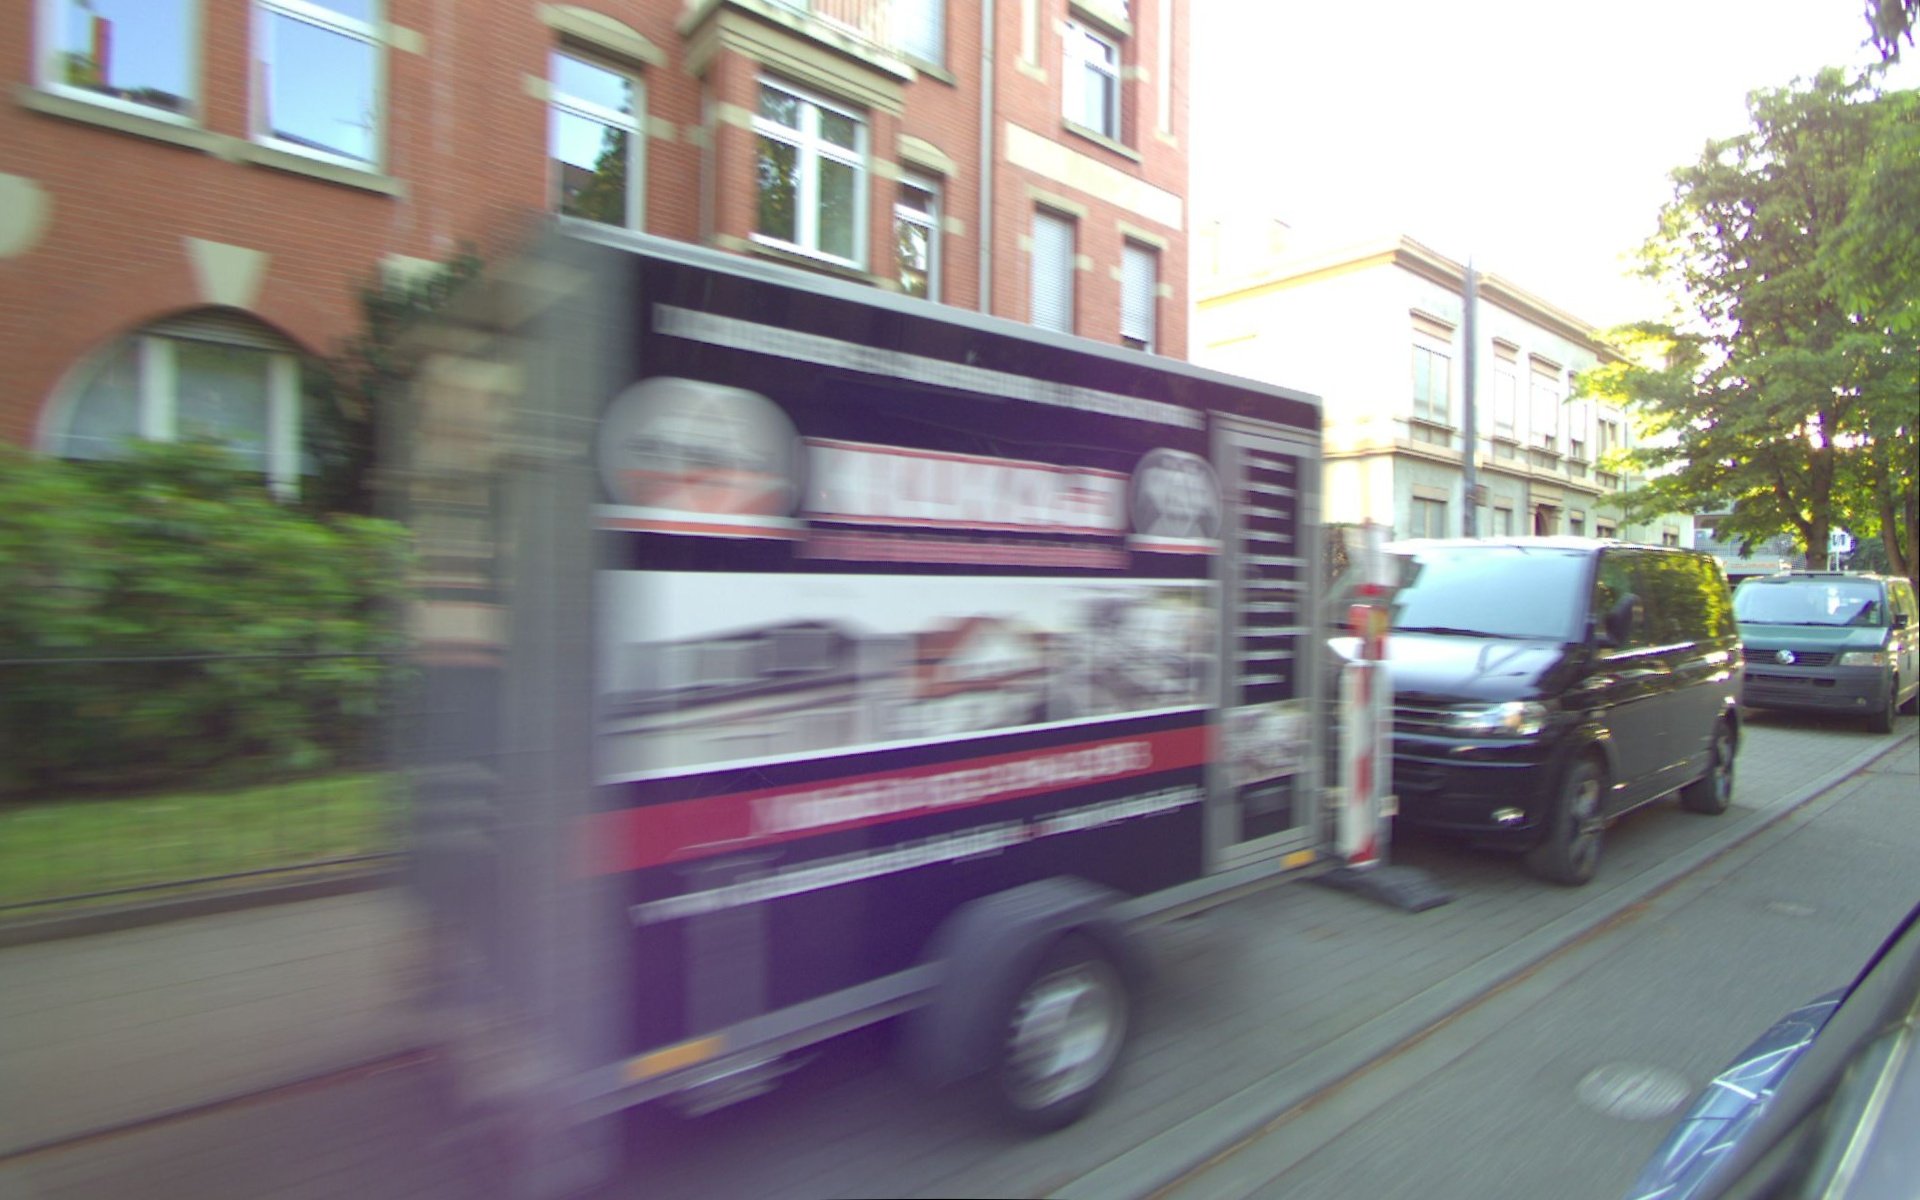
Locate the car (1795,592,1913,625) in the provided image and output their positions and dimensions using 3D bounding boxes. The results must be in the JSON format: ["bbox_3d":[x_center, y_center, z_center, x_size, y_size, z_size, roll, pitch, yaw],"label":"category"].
[{"bbox_3d":[48.235,0.445,54.659,1.839,1.664,4.584,1,-1,-41],"label":"car"}]

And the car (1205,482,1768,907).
[{"bbox_3d":[3.799,0.416,6.876,4.533,1.966,1.842,1,2,-42],"label":"car"}]

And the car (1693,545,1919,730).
[{"bbox_3d":[11.907,0.417,13.854,4.746,2.084,1.958,1,2,-41],"label":"car"}]

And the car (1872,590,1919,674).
[{"bbox_3d":[19.143,0.637,19.702,3.630,1.518,1.667,1,2,-42],"label":"car"}]

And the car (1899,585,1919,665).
[{"bbox_3d":[22.327,0.589,22.681,1.663,1.699,4.058,4,2,41],"label":"car"}]

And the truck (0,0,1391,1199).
[{"bbox_3d":[-0.633,0.217,3.481,4.562,2.274,1.959,1,2,-40],"label":"truck"}]
